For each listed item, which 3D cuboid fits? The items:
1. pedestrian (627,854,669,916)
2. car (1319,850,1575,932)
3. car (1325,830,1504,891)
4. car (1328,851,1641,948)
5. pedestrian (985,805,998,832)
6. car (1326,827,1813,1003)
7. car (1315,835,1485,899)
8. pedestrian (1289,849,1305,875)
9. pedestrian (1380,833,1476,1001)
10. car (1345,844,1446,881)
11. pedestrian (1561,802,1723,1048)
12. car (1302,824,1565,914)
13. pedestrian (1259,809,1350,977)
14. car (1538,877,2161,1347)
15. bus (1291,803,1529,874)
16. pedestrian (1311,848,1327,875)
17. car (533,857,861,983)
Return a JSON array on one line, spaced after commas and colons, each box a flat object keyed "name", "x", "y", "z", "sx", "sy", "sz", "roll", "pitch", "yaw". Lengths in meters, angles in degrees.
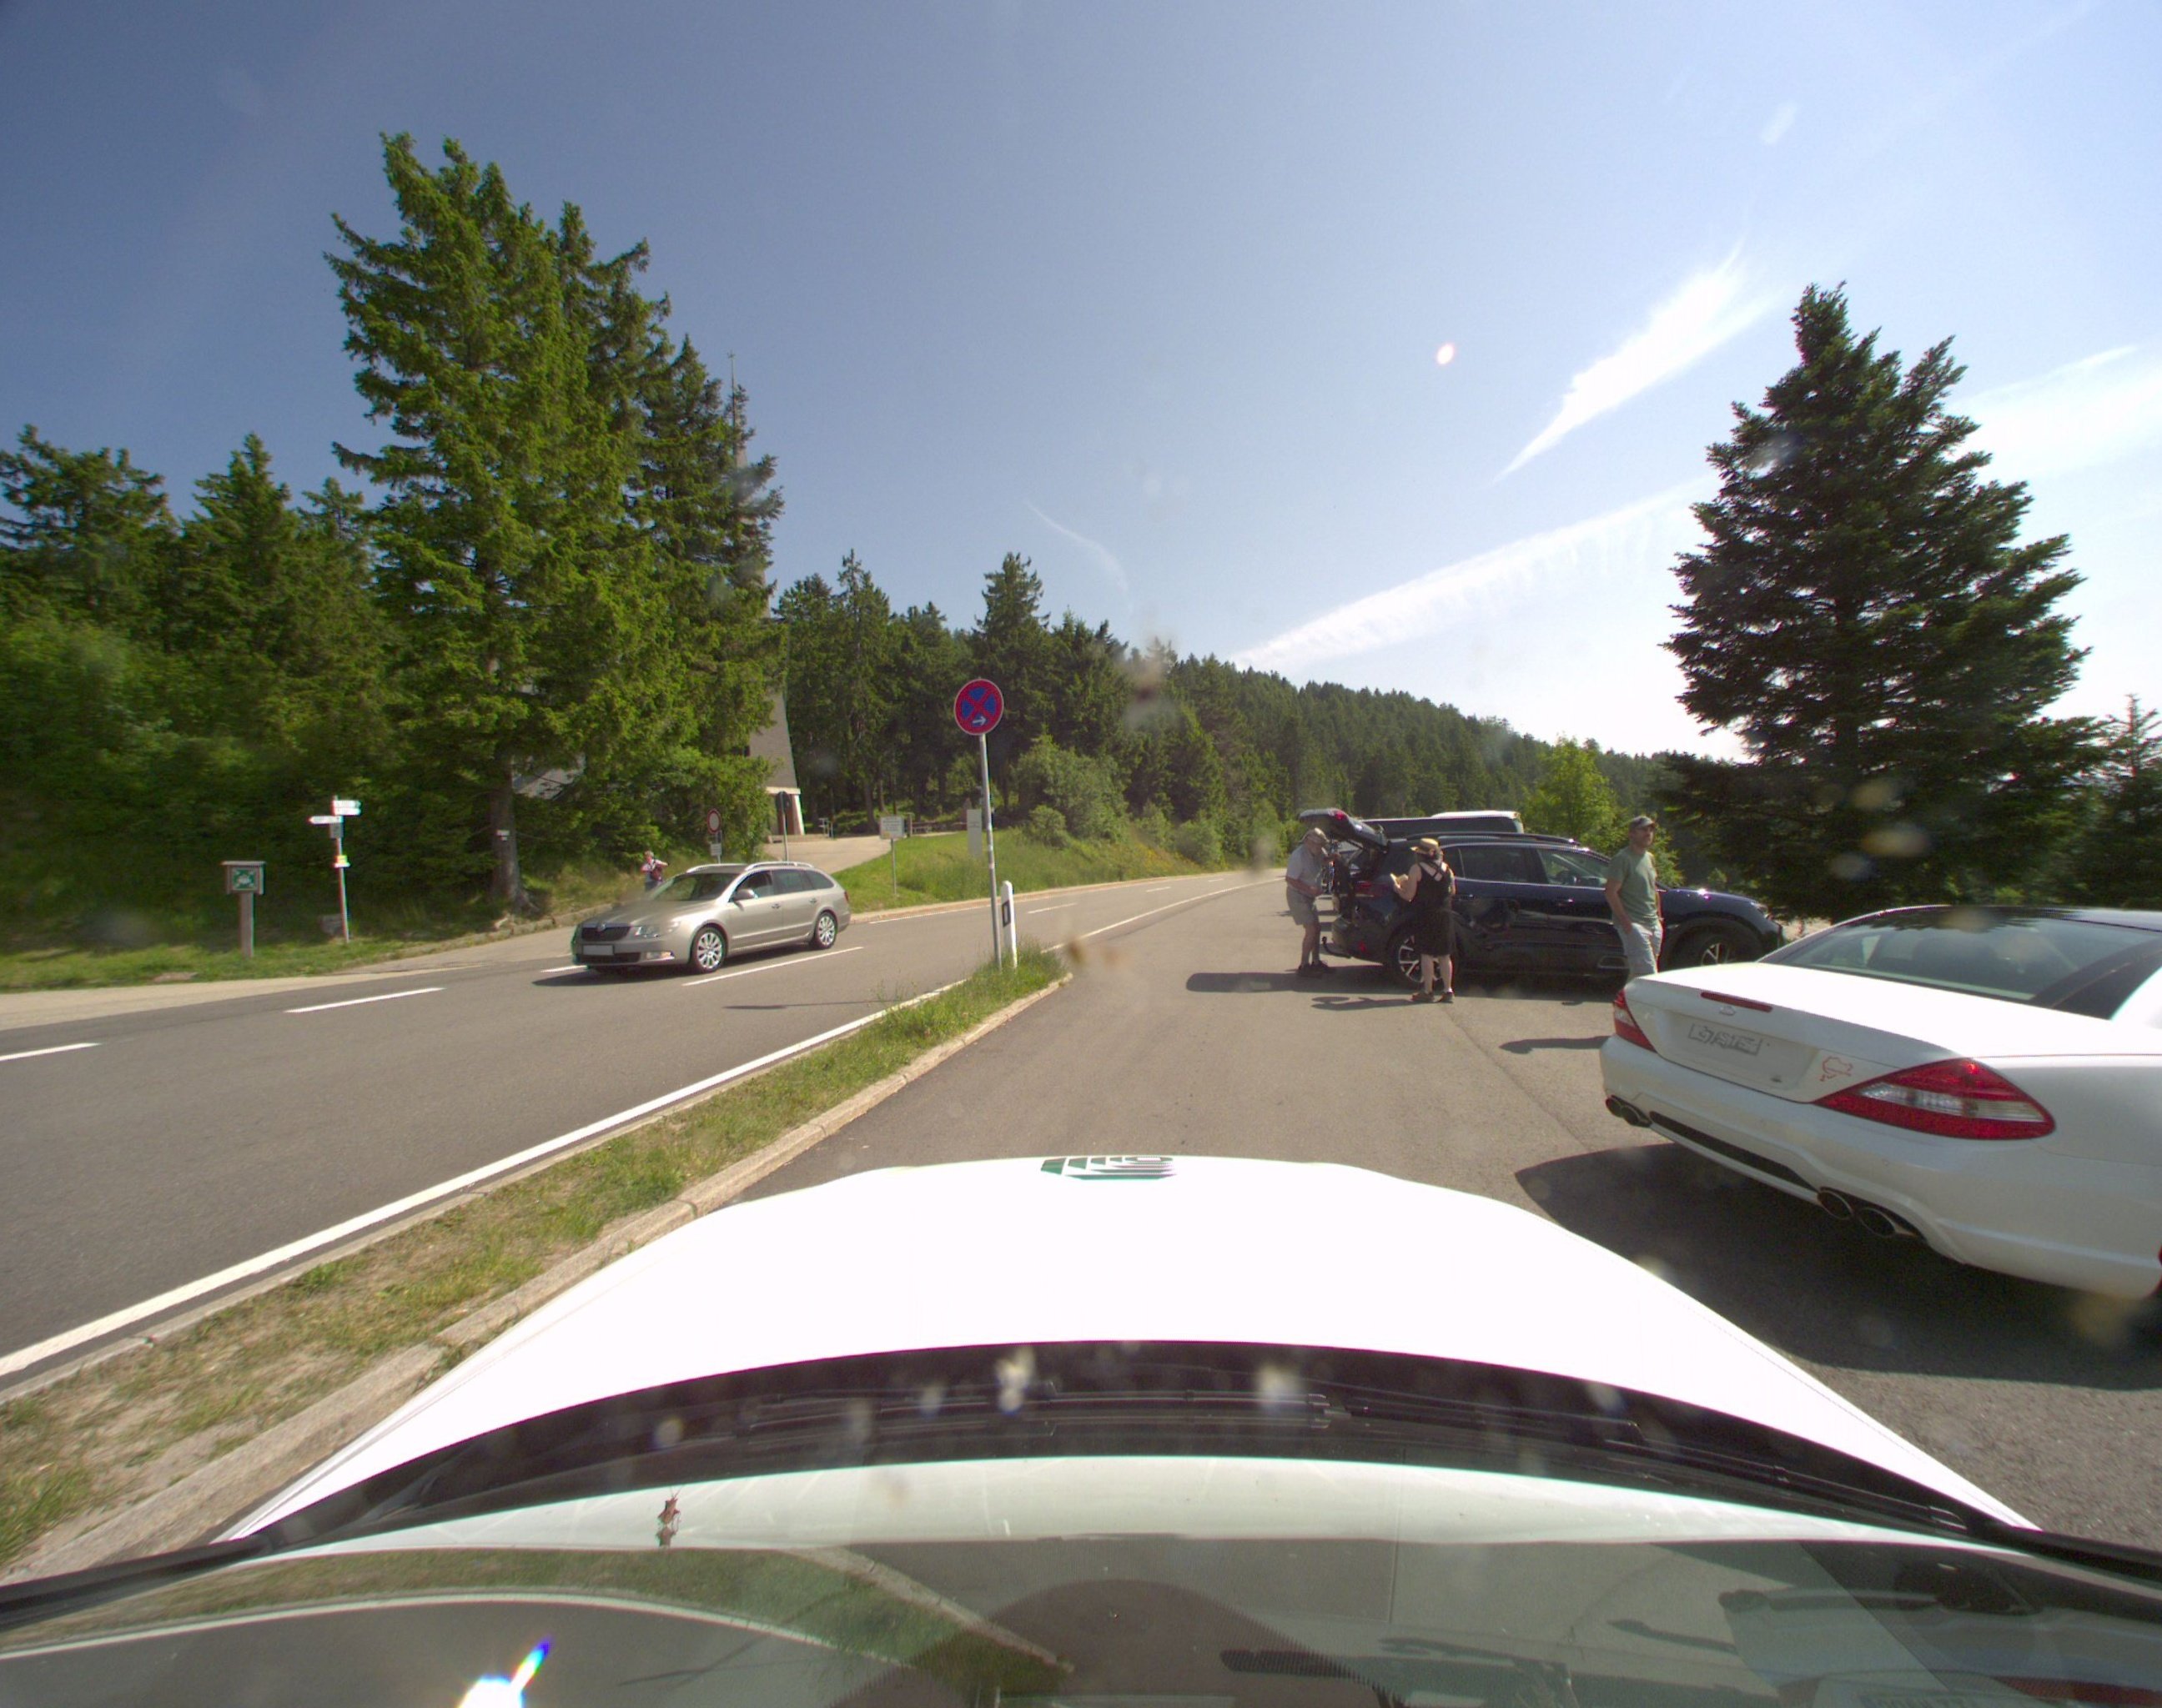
[{"name": "pedestrian", "x": -12.193, "y": 0.855, "z": 22.947, "sx": 0.715, "sy": 1.681, "sz": 0.684, "roll": -3, "pitch": -1, "yaw": 9}, {"name": "car", "x": 6.591, "y": 0.626, "z": 15.089, "sx": 4.055, "sy": 1.376, "sz": 1.708, "roll": 0, "pitch": 0, "yaw": 11}, {"name": "car", "x": 10.382, "y": 0.210, "z": 25.770, "sx": 4.994, "sy": 1.651, "sz": 2.057, "roll": -3, "pitch": 0, "yaw": 17}, {"name": "car", "x": 6.064, "y": 0.643, "z": 12.667, "sx": 4.058, "sy": 1.376, "sz": 1.706, "roll": 0, "pitch": 0, "yaw": 8}, {"name": "pedestrian", "x": -6.362, "y": -2.495, "z": 57.590, "sx": 0.545, "sy": 1.878, "sz": 0.674, "roll": -2, "pitch": -1, "yaw": -40}, {"name": "car", "x": 5.090, "y": 0.575, "z": 9.157, "sx": 4.315, "sy": 1.626, "sz": 1.876, "roll": 1, "pitch": 0, "yaw": 12}, {"name": "car", "x": 8.796, "y": 0.375, "z": 22.767, "sx": 4.210, "sy": 1.554, "sz": 1.846, "roll": -3, "pitch": 0, "yaw": 17}, {"name": "pedestrian", "x": 13.356, "y": 0.498, "z": 50.305, "sx": 0.763, "sy": 1.585, "sz": 0.777, "roll": -3, "pitch": -1, "yaw": 24}, {"name": "pedestrian", "x": 3.446, "y": 0.608, "z": 8.114, "sx": 0.712, "sy": 1.613, "sz": 0.536, "roll": 0, "pitch": -1, "yaw": -3}, {"name": "car", "x": 13.625, "y": 0.365, "z": 35.518, "sx": 3.955, "sy": 1.449, "sz": 1.870, "roll": -3, "pitch": 0, "yaw": 17}, {"name": "pedestrian", "x": 4.407, "y": 0.523, "z": 6.436, "sx": 0.747, "sy": 1.800, "sz": 0.732, "roll": 0, "pitch": -1, "yaw": -15}, {"name": "car", "x": 7.439, "y": 0.345, "z": 17.630, "sx": 4.908, "sy": 1.695, "sz": 1.955, "roll": -2, "pitch": 0, "yaw": 19}, {"name": "pedestrian", "x": 2.640, "y": 0.418, "z": 9.613, "sx": 0.762, "sy": 1.870, "sz": 0.728, "roll": -3, "pitch": 3, "yaw": -42}, {"name": "car", "x": 4.588, "y": 0.802, "z": 3.483, "sx": 4.391, "sy": 1.296, "sz": 1.753, "roll": 1, "pitch": 1, "yaw": -6}, {"name": "bus", "x": 19.744, "y": -0.826, "z": 49.552, "sx": 12.970, "sy": 3.532, "sz": 3.062, "roll": -3, "pitch": -1, "yaw": 28}, {"name": "pedestrian", "x": 14.527, "y": 0.442, "z": 49.628, "sx": 0.763, "sy": 1.585, "sz": 0.777, "roll": -3, "pitch": -1, "yaw": 24}, {"name": "car", "x": -5.457, "y": 0.837, "z": 12.445, "sx": 1.865, "sy": 1.474, "sz": 4.733, "roll": -1, "pitch": 0, "yaw": 15}]
